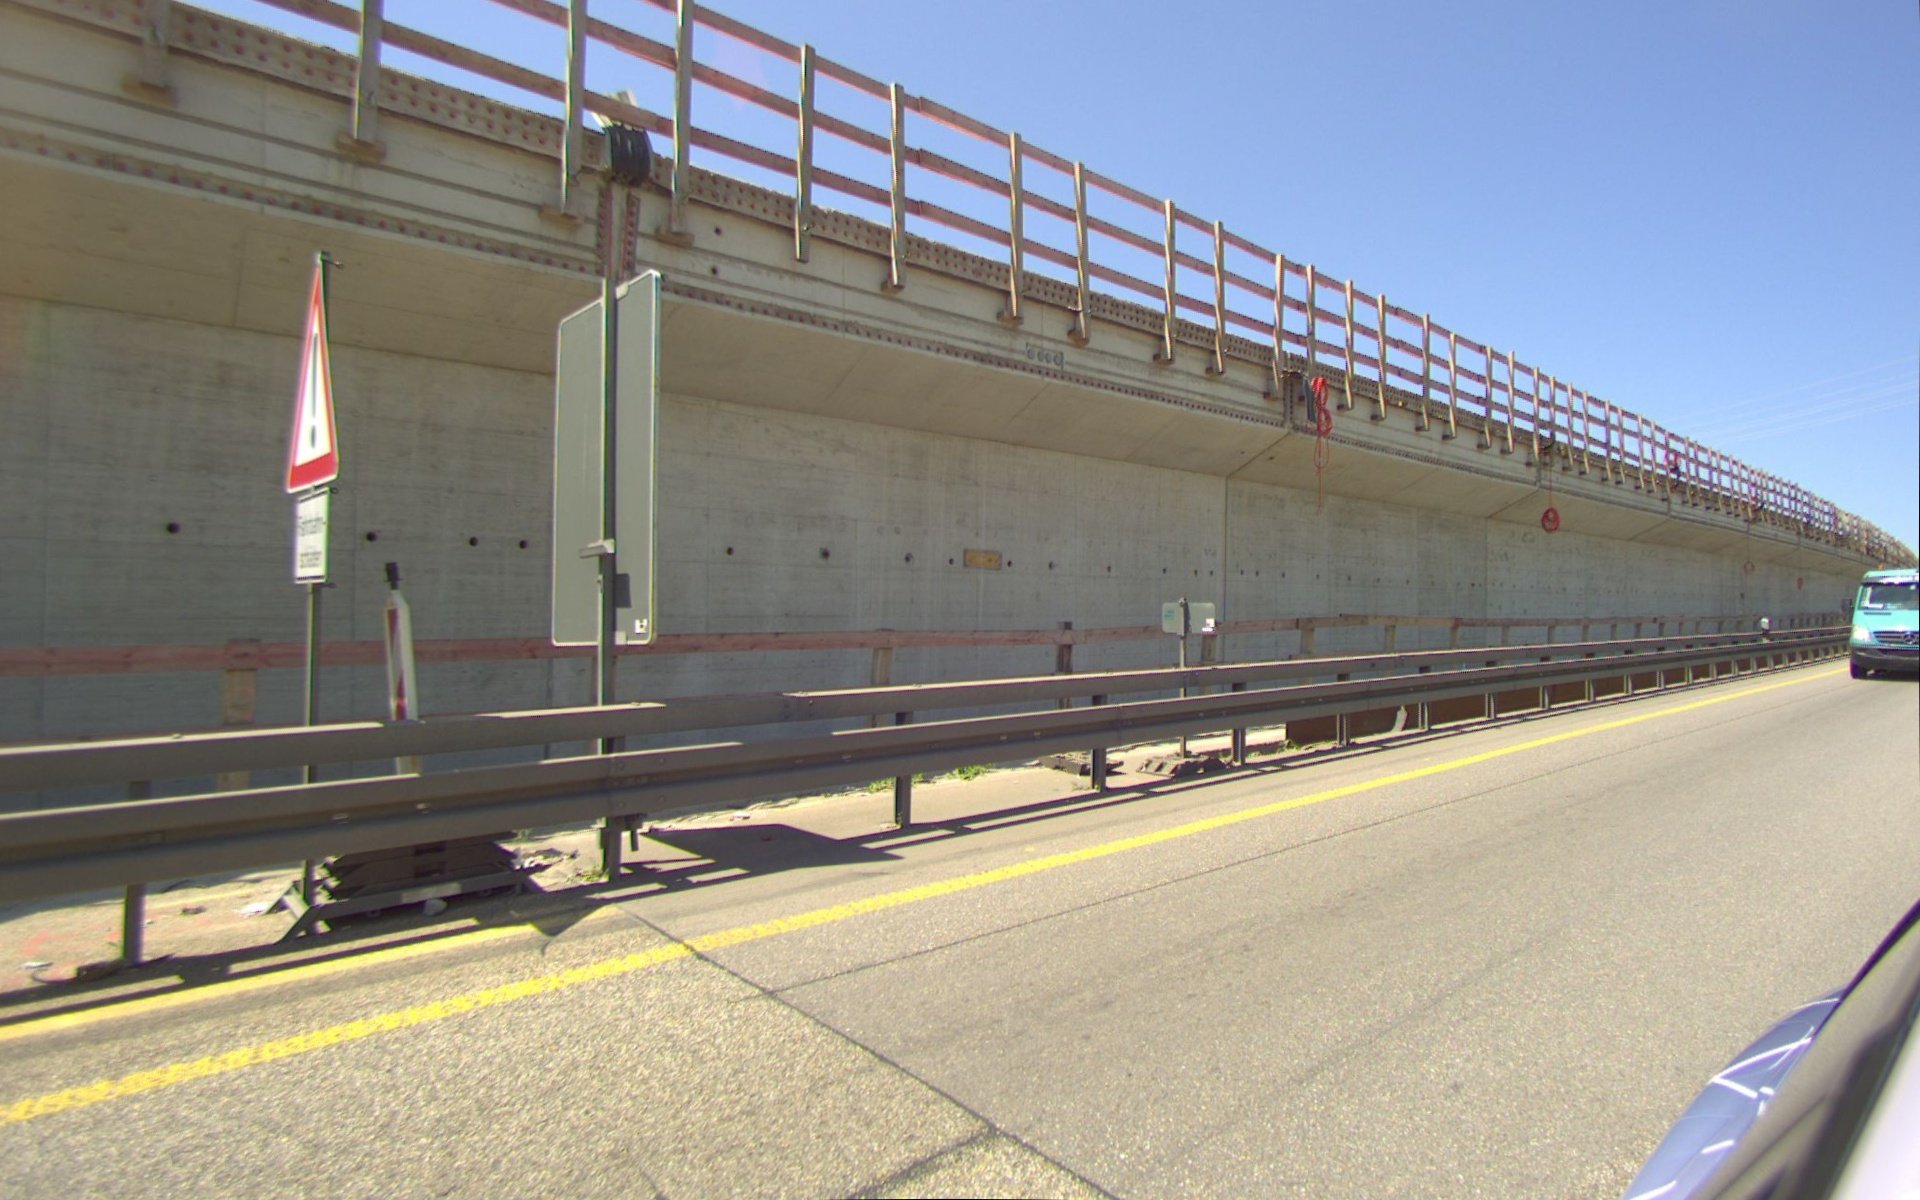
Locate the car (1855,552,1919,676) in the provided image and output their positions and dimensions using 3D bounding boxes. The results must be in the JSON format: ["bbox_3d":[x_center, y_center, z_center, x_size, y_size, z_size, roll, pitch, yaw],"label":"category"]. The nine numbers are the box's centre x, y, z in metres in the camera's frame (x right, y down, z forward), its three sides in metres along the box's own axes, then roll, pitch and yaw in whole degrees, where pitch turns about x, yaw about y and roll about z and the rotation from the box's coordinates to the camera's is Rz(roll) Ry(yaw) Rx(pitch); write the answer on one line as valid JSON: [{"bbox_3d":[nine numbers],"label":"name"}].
[{"bbox_3d":[21.427,0.239,22.018,7.084,2.411,1.966,-1,-1,-41],"label":"car"}]
